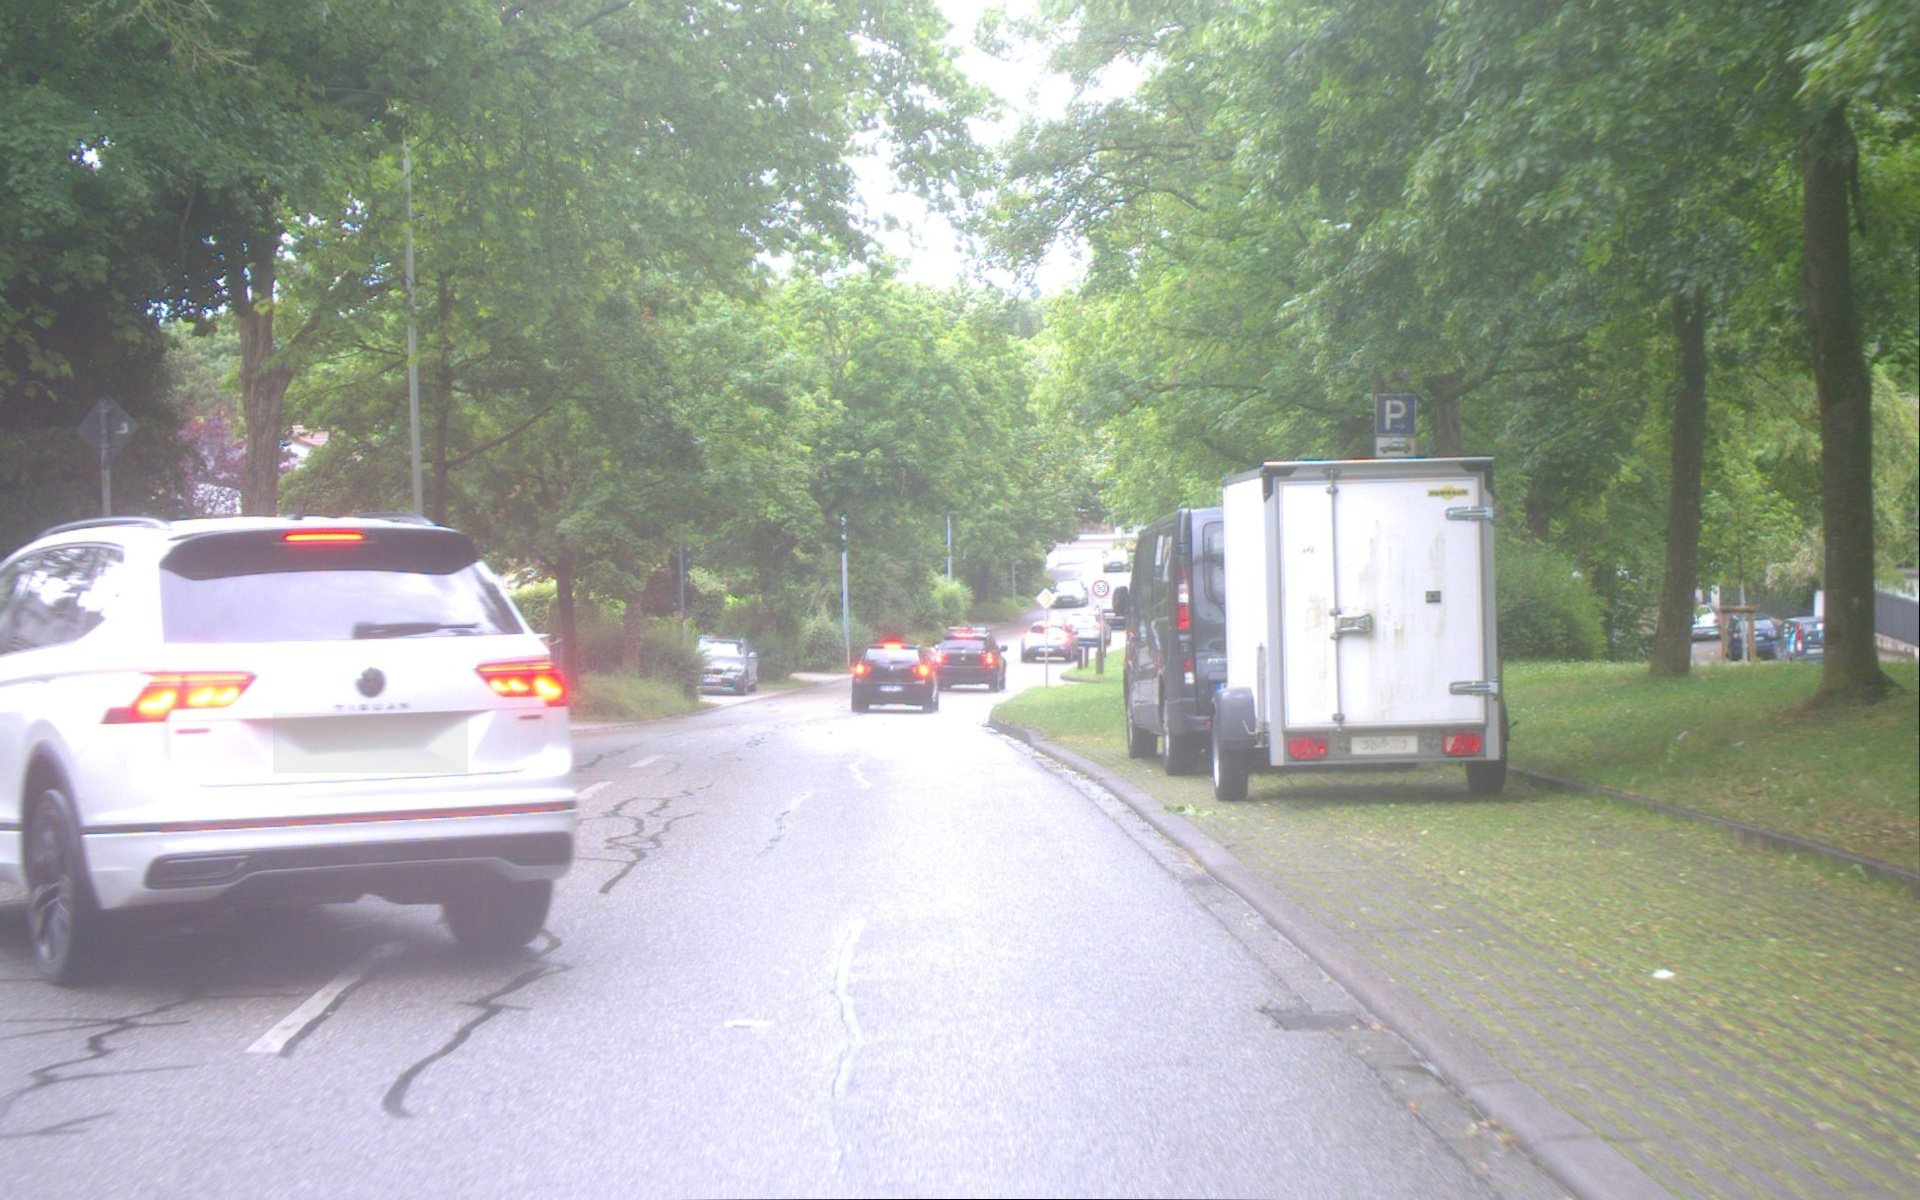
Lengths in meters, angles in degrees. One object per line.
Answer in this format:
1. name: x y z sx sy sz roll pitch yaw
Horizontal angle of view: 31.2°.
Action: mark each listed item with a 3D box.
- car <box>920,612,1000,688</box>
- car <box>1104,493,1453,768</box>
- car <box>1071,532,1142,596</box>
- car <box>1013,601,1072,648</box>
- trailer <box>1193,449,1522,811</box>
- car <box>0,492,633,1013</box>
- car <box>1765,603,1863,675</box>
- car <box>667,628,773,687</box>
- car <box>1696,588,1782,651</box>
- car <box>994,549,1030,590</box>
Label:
1. car: -0.032 1.360 94.508 1.993 2.007 4.000 -1 -1 -3
2. car: 2.358 0.229 26.959 1.993 1.903 5.509 -1 0 -2
3. car: 4.805 -1.168 113.394 1.993 2.007 4.000 -1 -1 -2
4. car: 2.988 0.901 125.543 1.856 1.686 4.000 -1 -1 -3
5. trailer: 2.462 0.166 22.136 1.530 2.068 4.000 -2 0 -1
6. car: -2.979 0.493 13.542 1.905 1.679 4.201 -2 1 -27
7. car: 26.755 1.195 107.813 1.993 2.006 4.001 -2 2 -1
8. car: -6.626 1.580 95.202 1.994 1.593 4.008 -1 -1 10
9. car: 27.305 0.673 120.563 1.993 2.006 4.001 -2 2 -1
10. car: 2.919 -1.727 193.639 1.993 2.006 4.001 -1 5 0
